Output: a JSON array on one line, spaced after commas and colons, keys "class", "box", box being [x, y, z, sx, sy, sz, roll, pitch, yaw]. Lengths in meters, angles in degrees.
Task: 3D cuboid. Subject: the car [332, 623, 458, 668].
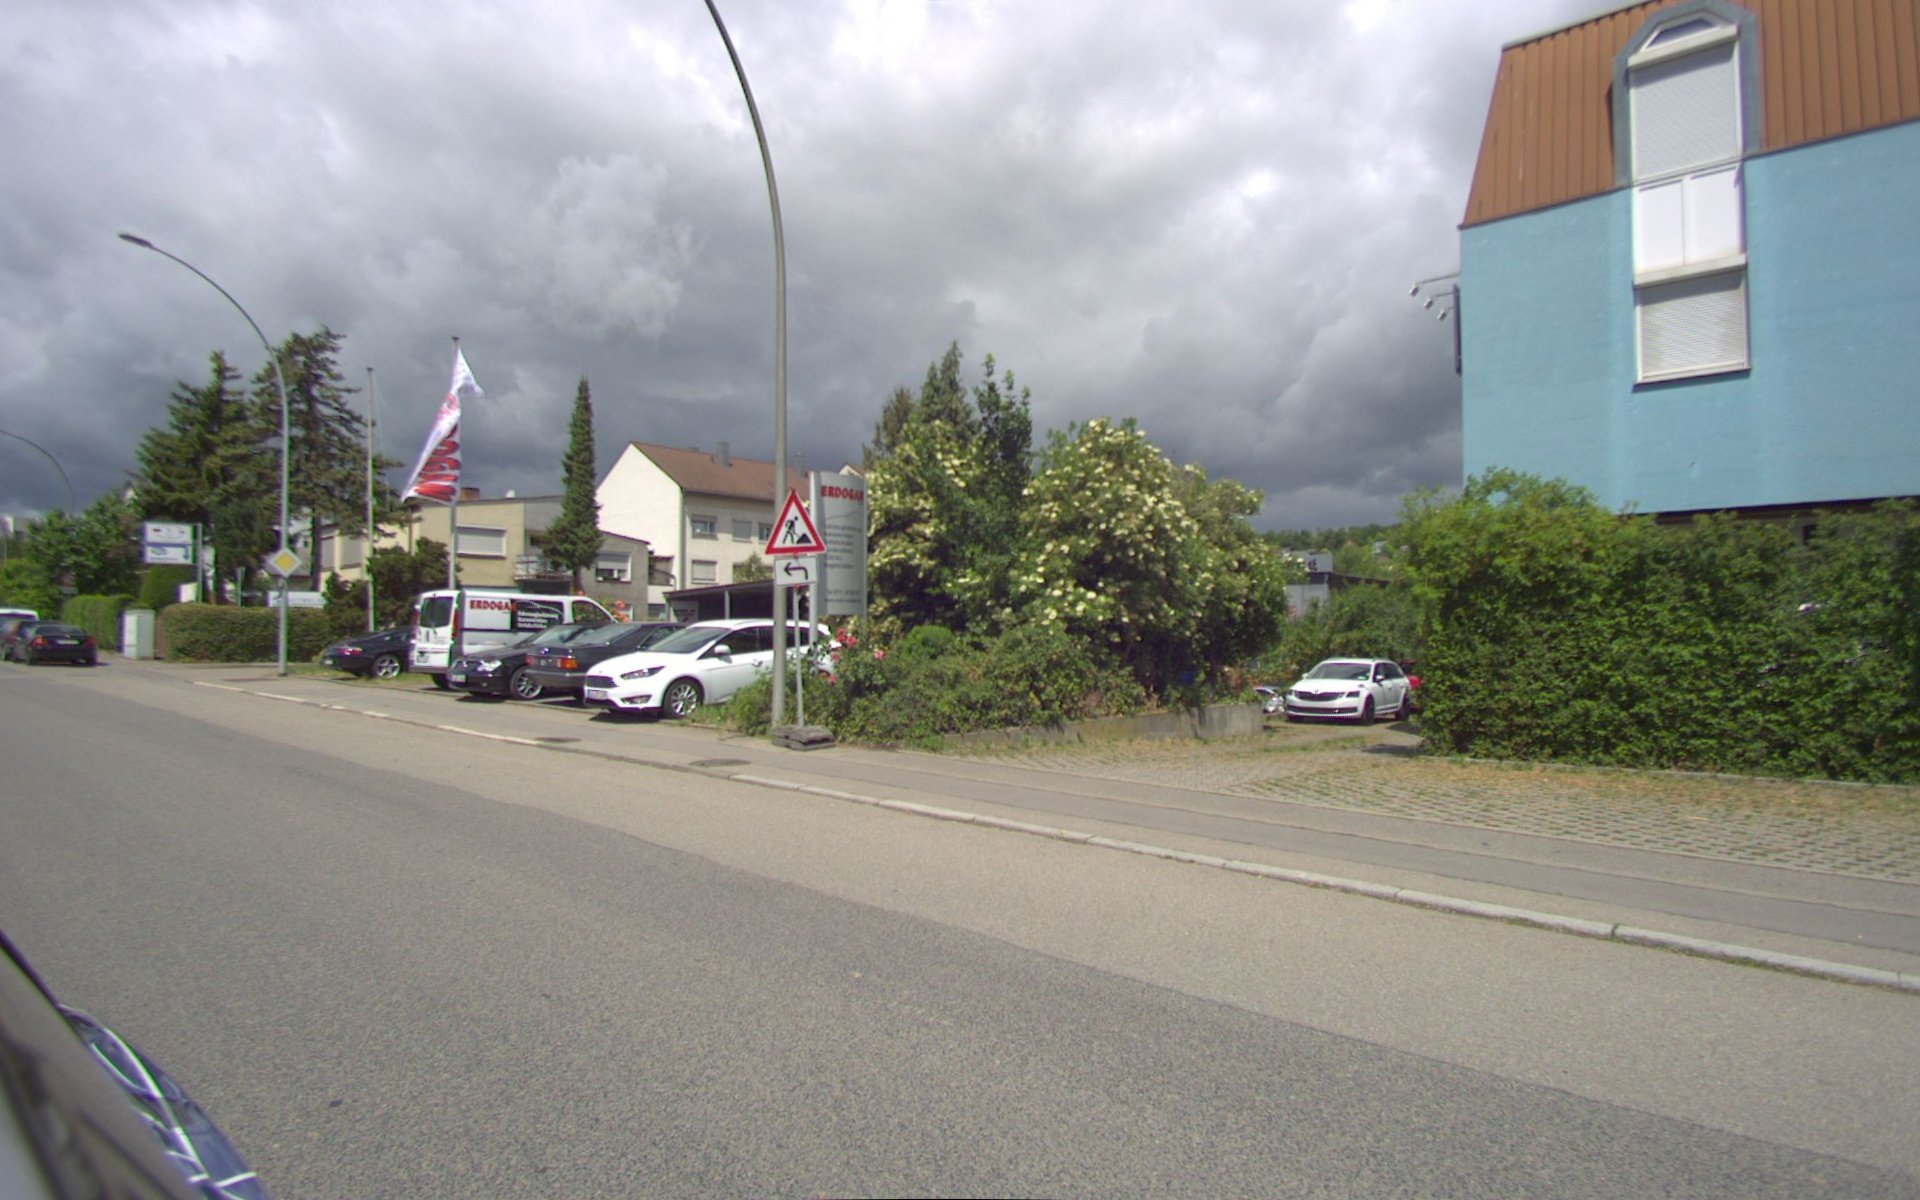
[{"class": "car", "box": [-19.887, 1.632, 35.735, 1.613, 1.489, 3.514, -2, -5, 42]}]

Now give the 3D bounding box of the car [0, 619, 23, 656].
[{"class": "car", "box": [-41.839, 1.595, 43.559, 3.996, 1.498, 1.623, -2, -5, 40]}]

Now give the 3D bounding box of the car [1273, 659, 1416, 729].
[{"class": "car", "box": [8.840, 2.075, 23.114, 1.997, 1.398, 3.949, -2, -3, 37]}]

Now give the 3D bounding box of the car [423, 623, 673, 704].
[{"class": "car", "box": [-7.611, 1.119, 18.989, 1.870, 1.325, 3.947, -1, -2, 39]}]

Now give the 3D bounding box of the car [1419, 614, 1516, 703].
[{"class": "car", "box": [16.409, 1.857, 32.603, 1.997, 2.685, 4.239, -2, -3, 37]}]

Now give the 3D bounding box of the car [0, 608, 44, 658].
[{"class": "car", "box": [-37.303, 1.286, 39.423, 4.352, 1.852, 1.726, -2, -5, 40]}]

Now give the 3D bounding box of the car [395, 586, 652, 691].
[{"class": "car", "box": [-9.162, 0.804, 21.606, 2.112, 1.987, 4.607, -2, -2, 37]}]

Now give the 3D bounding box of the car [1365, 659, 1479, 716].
[{"class": "car", "box": [12.784, 2.348, 27.886, 1.997, 1.398, 3.949, -2, -3, 37]}]

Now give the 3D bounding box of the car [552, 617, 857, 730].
[{"class": "car", "box": [-3.847, 1.042, 15.839, 1.871, 1.489, 4.329, 0, -1, 41]}]

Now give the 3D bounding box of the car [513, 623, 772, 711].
[{"class": "car", "box": [-5.475, 1.102, 17.775, 1.872, 1.365, 3.943, -2, -3, 43]}]

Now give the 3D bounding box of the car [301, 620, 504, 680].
[{"class": "car", "box": [-13.599, 1.166, 24.861, 1.870, 1.213, 3.948, -2, 0, 39]}]

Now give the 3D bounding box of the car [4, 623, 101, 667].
[{"class": "car", "box": [-29.385, 1.453, 32.733, 4.112, 1.314, 1.614, -2, -5, 39]}]

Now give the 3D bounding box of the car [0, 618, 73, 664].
[{"class": "car", "box": [-33.001, 1.448, 35.748, 4.640, 1.483, 1.726, -2, -5, 40]}]
